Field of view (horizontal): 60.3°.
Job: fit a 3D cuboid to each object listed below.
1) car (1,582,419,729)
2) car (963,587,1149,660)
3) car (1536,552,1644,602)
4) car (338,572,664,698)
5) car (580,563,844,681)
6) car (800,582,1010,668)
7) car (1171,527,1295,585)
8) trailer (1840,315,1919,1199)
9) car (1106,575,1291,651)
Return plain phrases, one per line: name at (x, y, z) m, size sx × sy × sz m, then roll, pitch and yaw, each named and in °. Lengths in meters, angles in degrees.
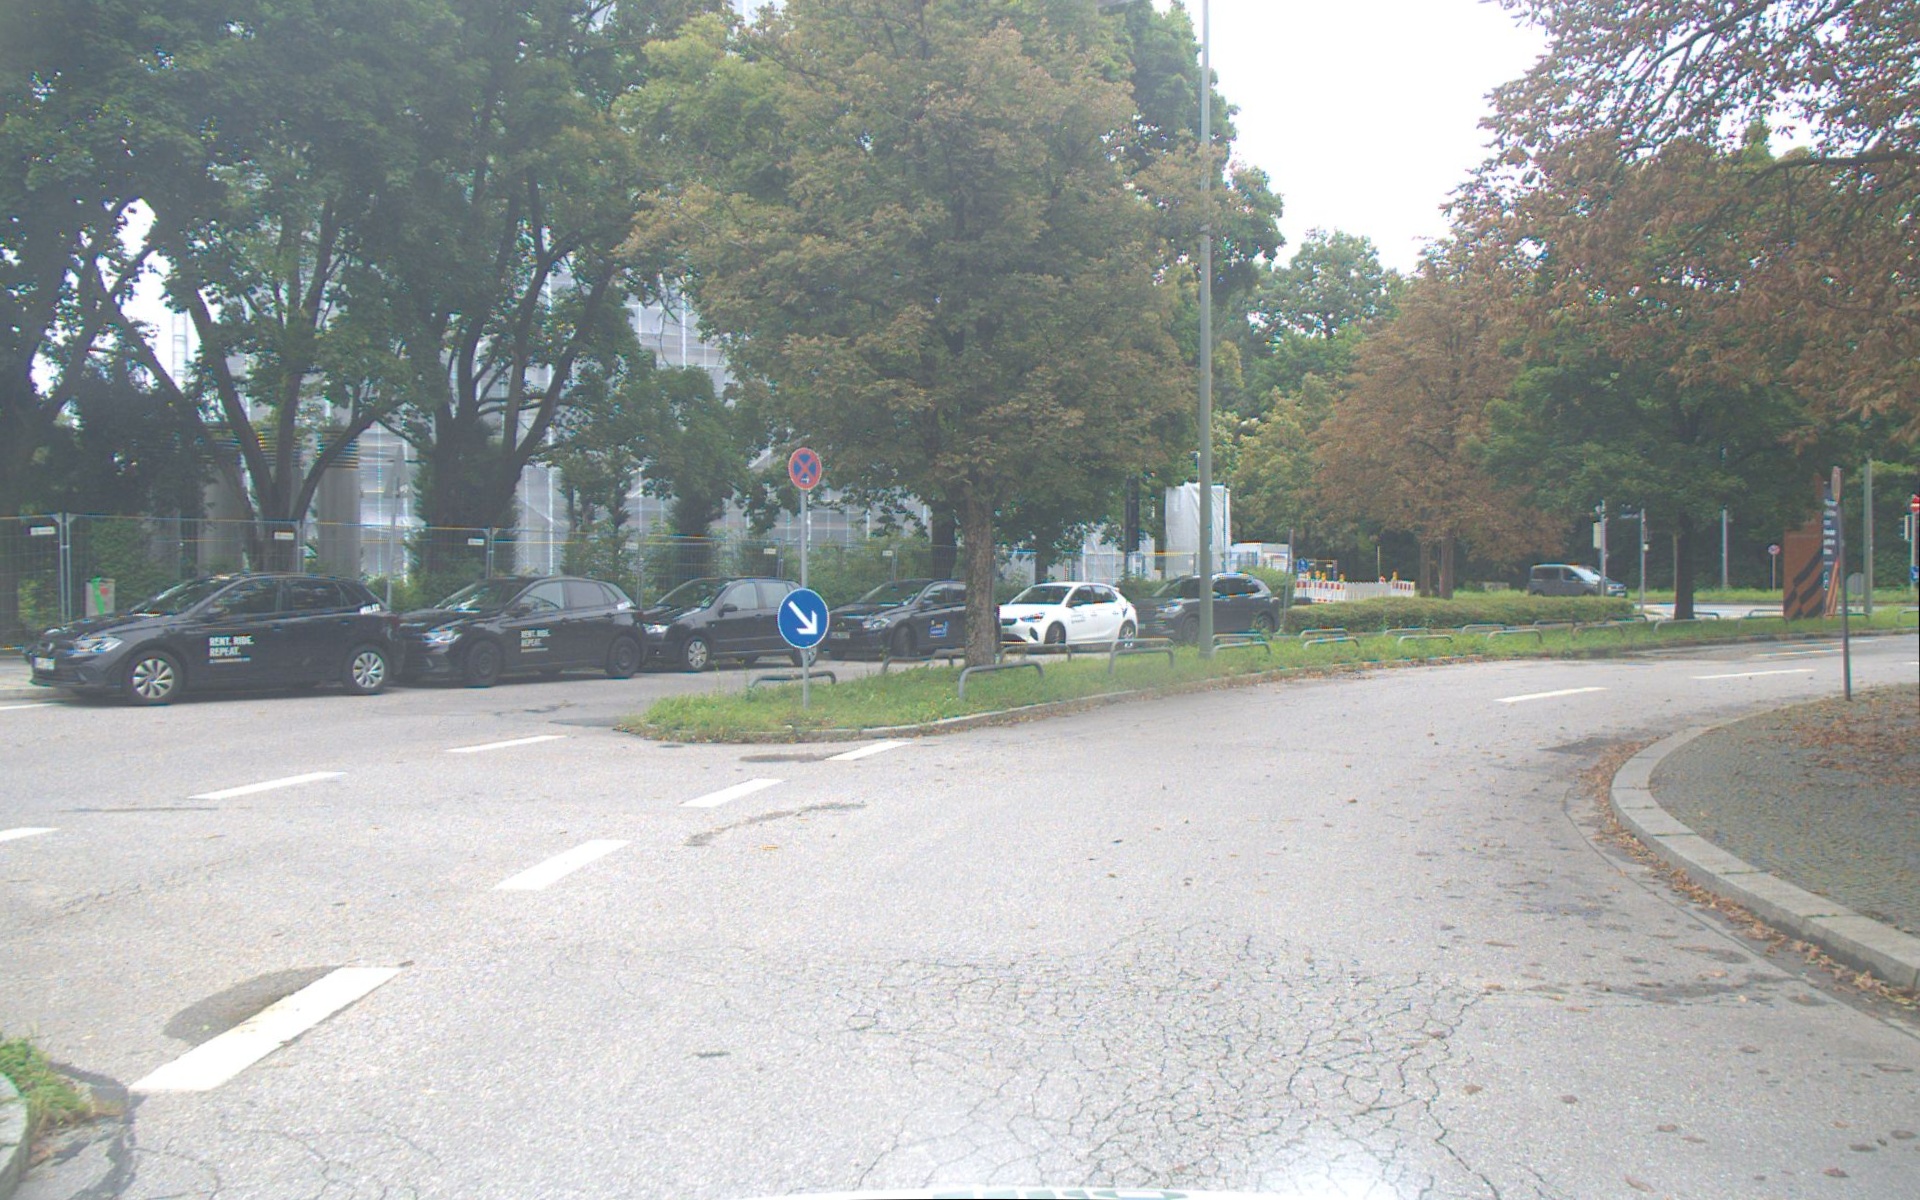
car at (-8.635, 0.553, 19.325) m, size 1.961 × 1.457 × 4.026 m, roll 2°, pitch 2°, yaw 37°
car at (2.051, 0.454, 34.309) m, size 1.768 × 1.408 × 4.198 m, roll -1°, pitch 0°, yaw 39°
car at (27.049, -0.984, 71.125) m, size 1.976 × 2.049 × 3.953 m, roll -1°, pitch 1°, yaw -34°
car at (-6.206, 0.418, 22.719) m, size 1.960 × 1.568 × 3.984 m, roll 0°, pitch 0°, yaw 36°
car at (-3.897, 0.318, 26.544) m, size 1.960 × 1.736 × 3.984 m, roll -1°, pitch 0°, yaw 36°
car at (-0.951, 0.425, 30.555) m, size 1.804 × 1.486 × 3.990 m, roll -1°, pitch 0°, yaw 36°
car at (17.477, -2.755, 106.600) m, size 3.054 × 3.509 × 8.625 m, roll -1°, pitch 0°, yaw -32°
trailer at (2.942, 0.401, 1.462) m, size 1.771 × 2.049 × 4.834 m, roll -1°, pitch 0°, yaw 0°
car at (5.477, 0.314, 37.688) m, size 4.360 × 1.634 × 1.862 m, roll 1°, pitch -1°, yaw -43°
